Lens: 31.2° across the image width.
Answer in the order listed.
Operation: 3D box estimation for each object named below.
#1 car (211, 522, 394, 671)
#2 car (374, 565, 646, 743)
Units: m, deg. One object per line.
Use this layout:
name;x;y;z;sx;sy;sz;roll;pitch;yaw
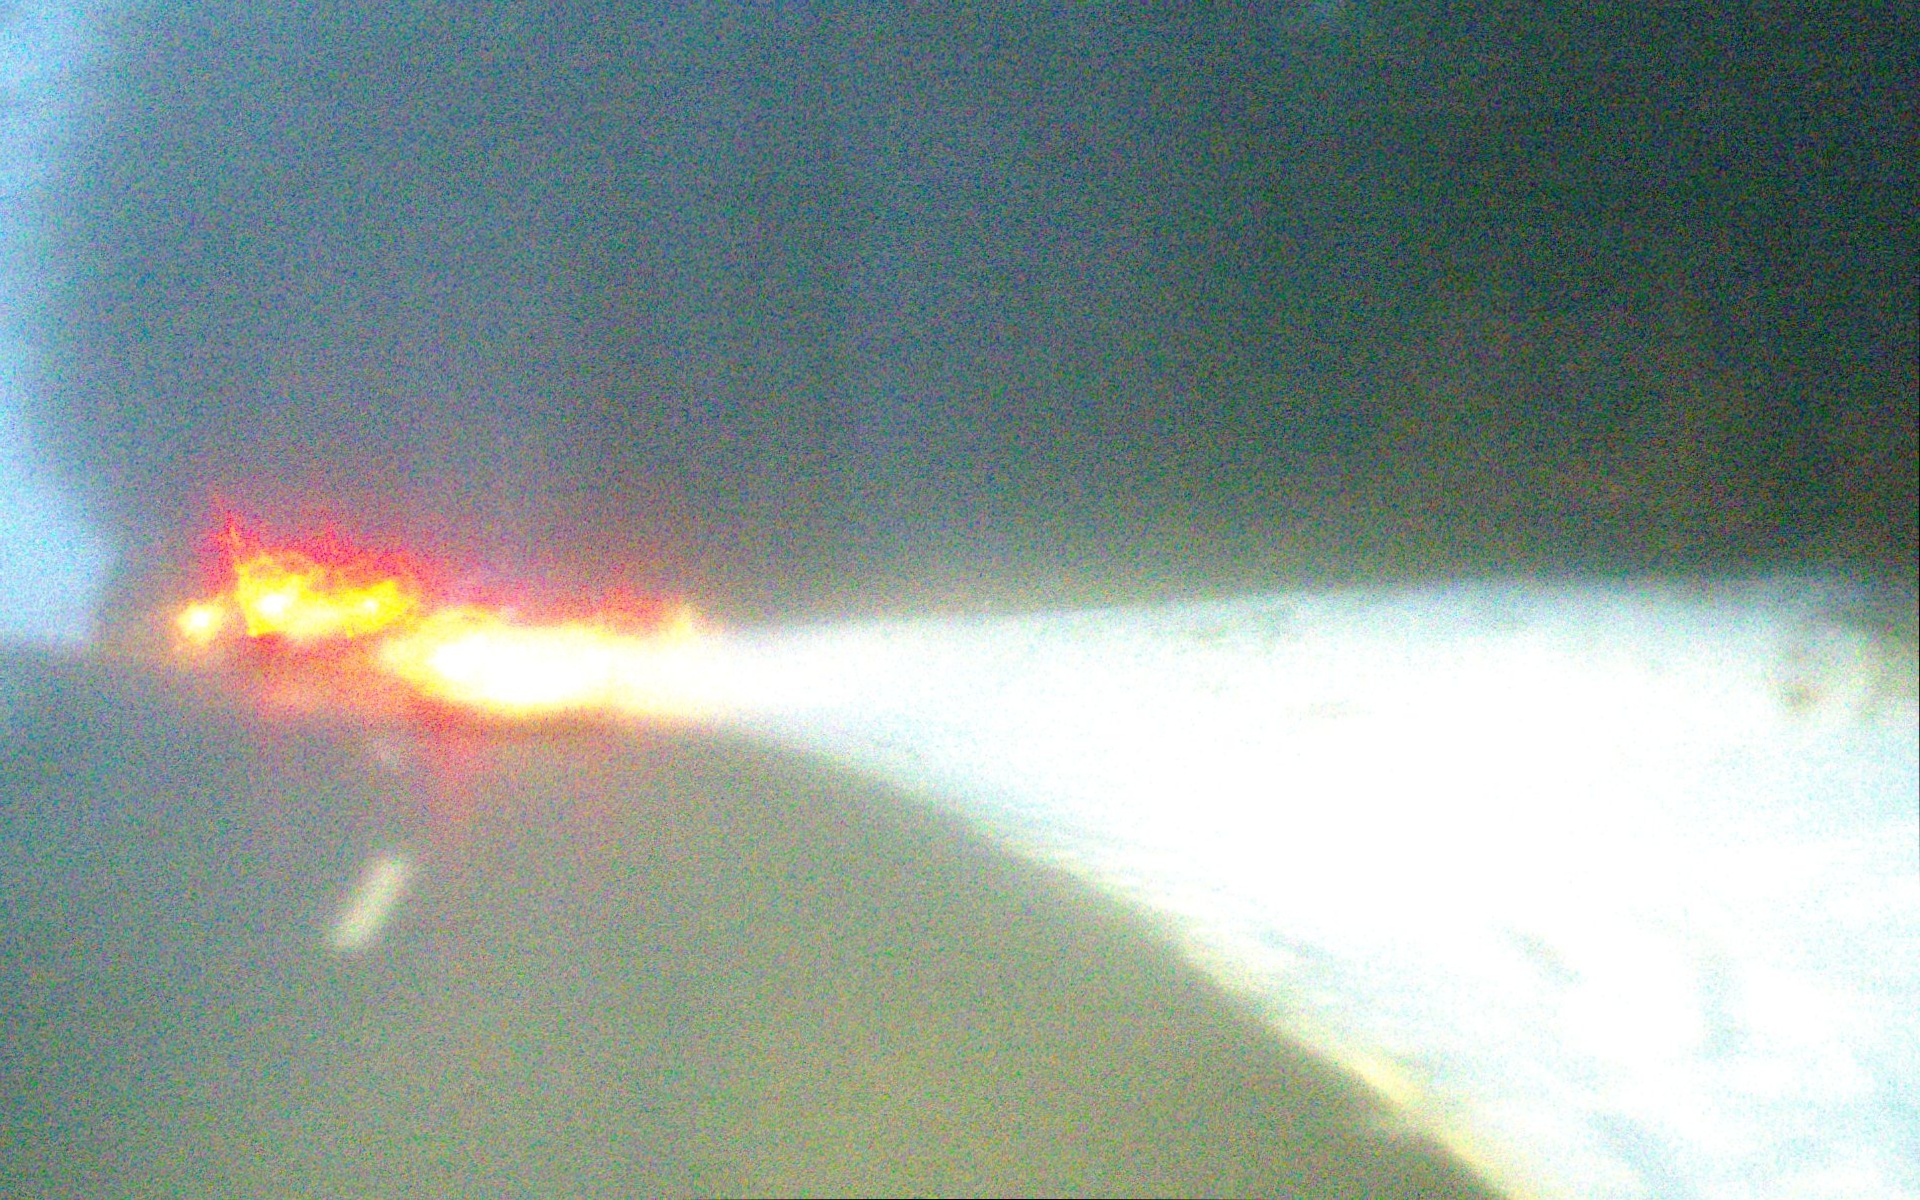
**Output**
car;-9.210;-0.008;47.925;1.993;1.777;4.001;7;-3;-15
car;-4.187;0.484;31.490;1.945;1.376;4.001;5;-2;-13
